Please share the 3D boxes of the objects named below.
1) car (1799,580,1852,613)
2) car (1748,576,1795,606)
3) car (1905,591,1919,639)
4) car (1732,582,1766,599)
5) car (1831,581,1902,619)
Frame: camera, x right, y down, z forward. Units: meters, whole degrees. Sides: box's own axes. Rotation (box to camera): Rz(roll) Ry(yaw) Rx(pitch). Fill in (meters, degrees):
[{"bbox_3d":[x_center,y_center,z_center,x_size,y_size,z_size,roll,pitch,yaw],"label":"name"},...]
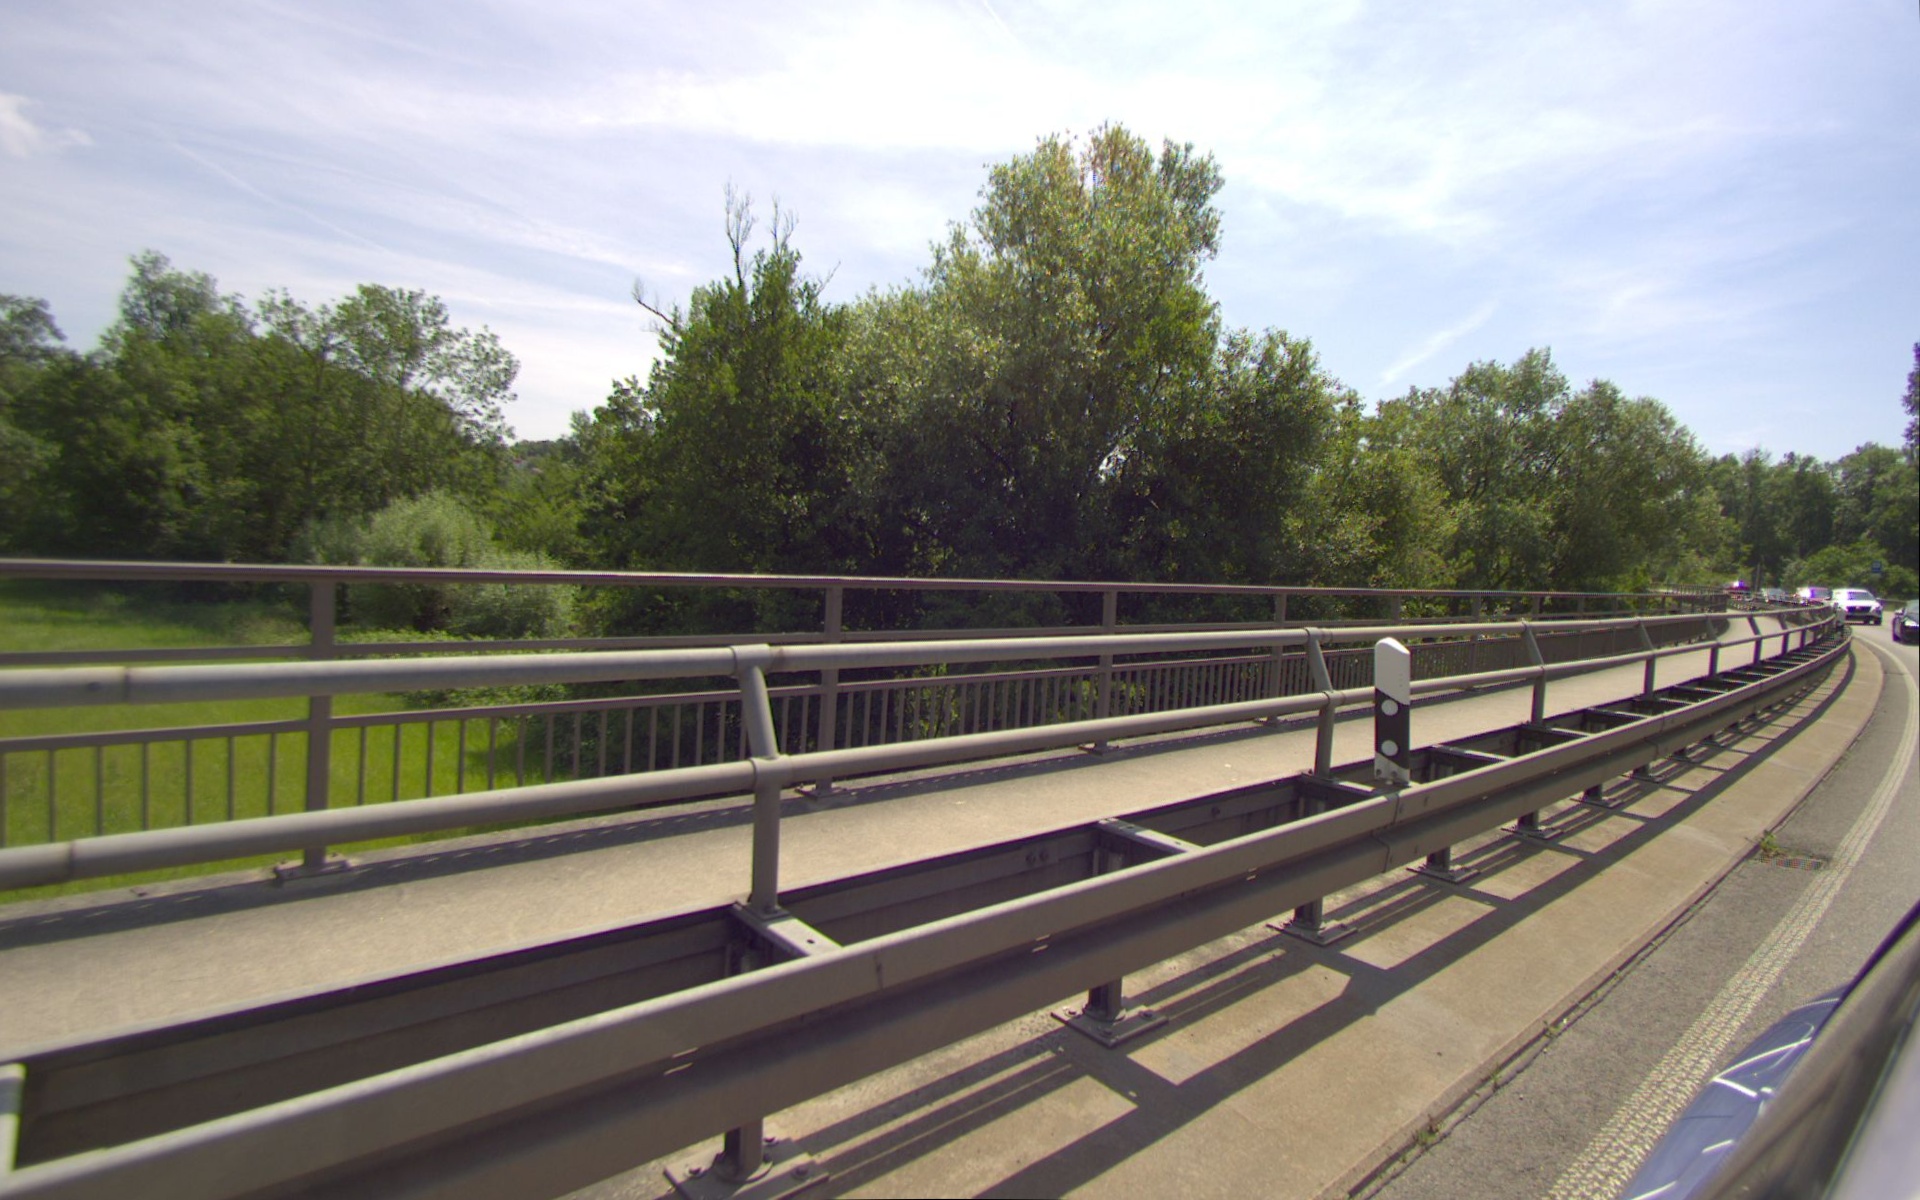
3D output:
[{"bbox_3d":[49.684,-0.216,58.163,1.988,1.798,3.949,0,1,36],"label":"car"},{"bbox_3d":[56.527,-0.641,70.569,1.983,2.039,3.957,0,1,30],"label":"car"},{"bbox_3d":[31.193,0.438,31.884,1.902,1.439,3.892,0,0,41],"label":"car"},{"bbox_3d":[73.509,-0.942,94.313,1.807,1.542,3.913,1,1,27],"label":"car"},{"bbox_3d":[42.990,-0.031,48.089,1.896,1.668,3.905,0,1,33],"label":"car"}]
